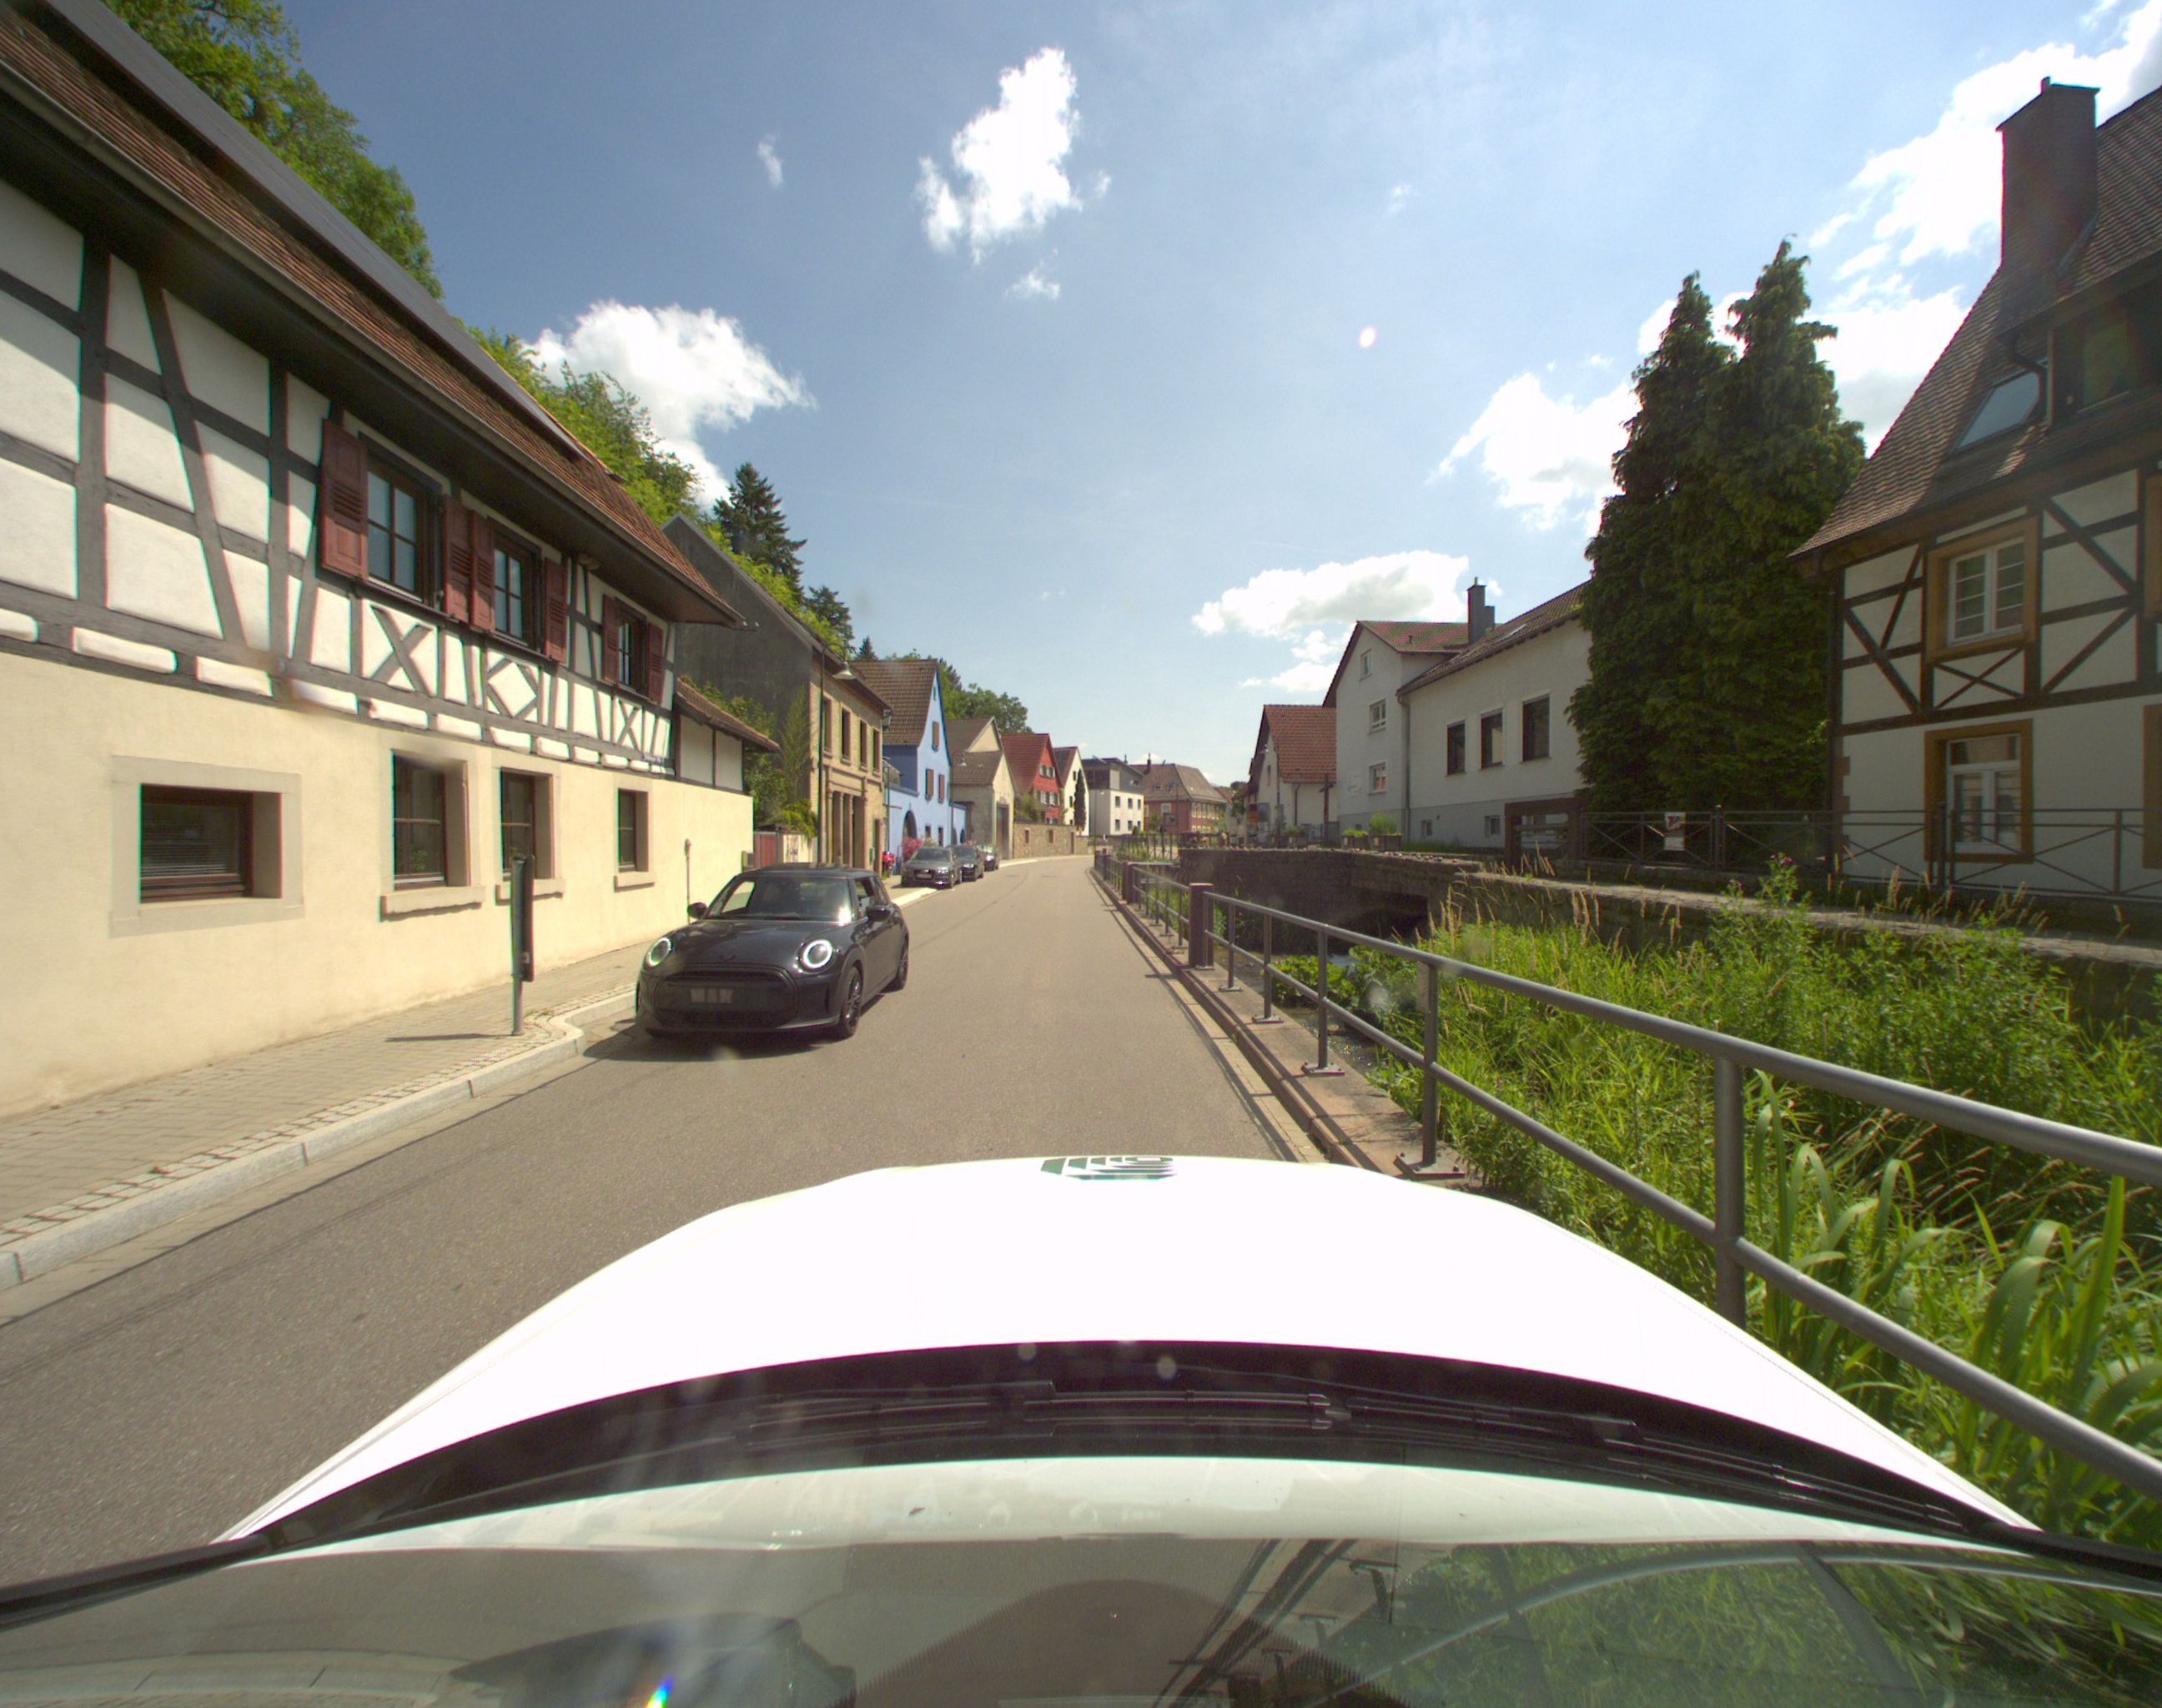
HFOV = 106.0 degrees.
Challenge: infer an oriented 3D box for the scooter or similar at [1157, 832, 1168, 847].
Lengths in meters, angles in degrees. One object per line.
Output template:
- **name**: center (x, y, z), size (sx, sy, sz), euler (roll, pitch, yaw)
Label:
- **scooter or similar**: center (6.541, -1.146, 65.629), size (0.639, 1.142, 1.811), euler (-1, 1, -1)

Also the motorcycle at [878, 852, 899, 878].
- **motorcycle**: center (-7.919, 0.458, 33.559), size (0.417, 1.001, 1.856), euler (5, 0, -3)

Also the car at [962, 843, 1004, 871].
- **car**: center (-5.445, 0.139, 45.636), size (1.711, 1.530, 3.858), euler (-1, 1, 2)

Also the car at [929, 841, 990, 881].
- **car**: center (-5.211, 0.262, 35.432), size (1.879, 1.463, 4.668), euler (3, 2, 0)

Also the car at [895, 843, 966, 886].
- **car**: center (-5.510, 0.358, 30.383), size (1.952, 1.465, 4.542), euler (1, 0, -2)

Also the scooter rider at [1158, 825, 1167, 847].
- **scooter rider**: center (6.564, -1.468, 65.763), size (0.639, 1.731, 0.554), euler (1, 0, -1)

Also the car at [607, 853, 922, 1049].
- **car**: center (-2.812, 0.740, 8.364), size (1.695, 1.465, 4.430), euler (0, 0, -3)
